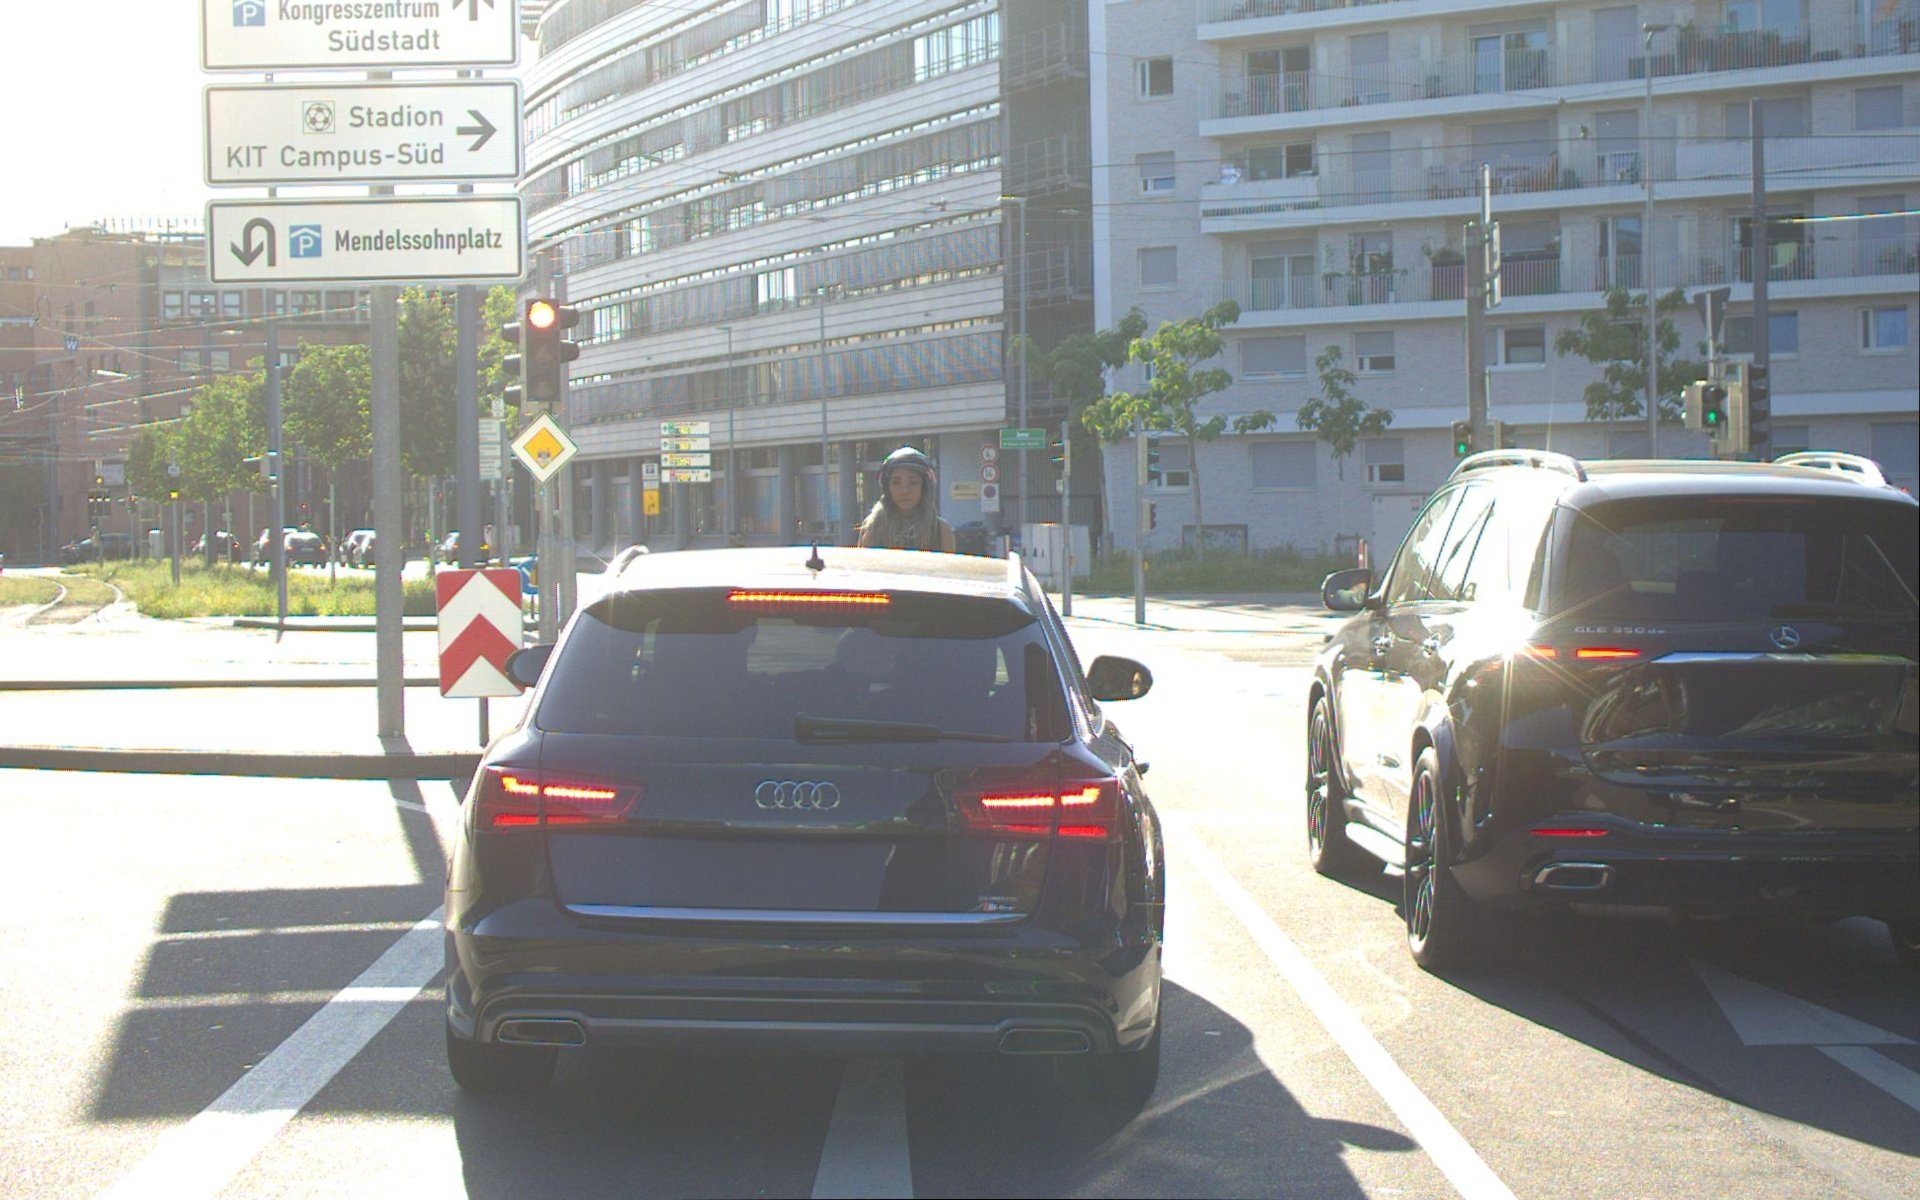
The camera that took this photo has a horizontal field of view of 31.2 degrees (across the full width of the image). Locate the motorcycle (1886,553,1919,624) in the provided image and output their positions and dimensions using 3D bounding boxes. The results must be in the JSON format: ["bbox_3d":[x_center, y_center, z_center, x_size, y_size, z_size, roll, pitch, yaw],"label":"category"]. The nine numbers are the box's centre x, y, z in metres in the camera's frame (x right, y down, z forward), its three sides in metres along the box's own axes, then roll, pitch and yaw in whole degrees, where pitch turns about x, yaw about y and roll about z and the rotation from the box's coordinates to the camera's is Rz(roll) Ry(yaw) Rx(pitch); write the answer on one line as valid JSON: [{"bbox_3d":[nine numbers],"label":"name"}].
[{"bbox_3d":[14.752,-0.192,49.627,2.452,0.997,1.172,-1,1,0],"label":"motorcycle"}]

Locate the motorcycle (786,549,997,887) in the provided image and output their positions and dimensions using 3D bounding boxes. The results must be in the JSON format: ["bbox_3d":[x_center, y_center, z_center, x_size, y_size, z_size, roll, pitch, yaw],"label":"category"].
[{"bbox_3d":[-0.294,0.477,15.251,0.862,1.388,1.894,-1,1,0],"label":"motorcycle"}]

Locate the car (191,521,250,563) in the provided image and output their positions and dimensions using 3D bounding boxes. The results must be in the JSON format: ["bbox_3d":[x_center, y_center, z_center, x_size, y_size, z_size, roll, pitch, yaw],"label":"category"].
[{"bbox_3d":[-31.696,-2.491,147.218,1.993,1.700,4.001,-2,1,-19],"label":"car"}]

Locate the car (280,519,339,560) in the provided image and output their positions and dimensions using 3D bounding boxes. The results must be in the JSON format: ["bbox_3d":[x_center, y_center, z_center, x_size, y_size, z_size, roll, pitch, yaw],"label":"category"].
[{"bbox_3d":[-26.875,-2.487,141.908,1.993,1.590,4.001,-2,1,-16],"label":"car"}]

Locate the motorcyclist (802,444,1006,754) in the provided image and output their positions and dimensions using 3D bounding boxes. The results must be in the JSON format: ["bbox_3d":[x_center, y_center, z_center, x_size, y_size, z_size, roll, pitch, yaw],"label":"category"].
[{"bbox_3d":[-0.244,-0.010,15.129,0.862,1.322,0.681,-1,1,0],"label":"motorcyclist"}]

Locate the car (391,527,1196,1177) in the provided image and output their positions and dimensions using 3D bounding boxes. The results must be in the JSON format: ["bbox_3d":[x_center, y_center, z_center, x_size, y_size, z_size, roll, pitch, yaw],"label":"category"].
[{"bbox_3d":[-0.418,0.543,9.952,1.842,1.449,4.001,1,2,-1],"label":"car"}]

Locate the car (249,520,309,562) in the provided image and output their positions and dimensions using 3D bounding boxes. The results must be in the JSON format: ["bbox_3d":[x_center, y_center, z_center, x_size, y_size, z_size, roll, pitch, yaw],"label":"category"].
[{"bbox_3d":[-29.325,-2.550,148.002,1.993,1.700,4.001,-2,1,-19],"label":"car"}]

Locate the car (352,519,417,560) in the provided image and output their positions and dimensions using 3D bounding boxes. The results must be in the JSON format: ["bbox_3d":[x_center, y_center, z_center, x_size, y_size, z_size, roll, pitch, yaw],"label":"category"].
[{"bbox_3d":[-23.361,-2.447,139.509,1.993,1.590,4.001,-2,1,-18],"label":"car"}]

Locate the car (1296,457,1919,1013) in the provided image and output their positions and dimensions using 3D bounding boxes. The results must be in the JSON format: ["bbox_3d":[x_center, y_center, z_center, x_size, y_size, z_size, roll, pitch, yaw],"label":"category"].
[{"bbox_3d":[2.510,0.360,12.859,2.003,1.709,4.373,1,2,-1],"label":"car"}]

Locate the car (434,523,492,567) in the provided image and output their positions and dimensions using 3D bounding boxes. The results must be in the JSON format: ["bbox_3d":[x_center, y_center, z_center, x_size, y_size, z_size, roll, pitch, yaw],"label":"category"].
[{"bbox_3d":[-21.952,-2.431,151.823,1.993,1.831,4.001,-2,1,-16],"label":"car"}]
